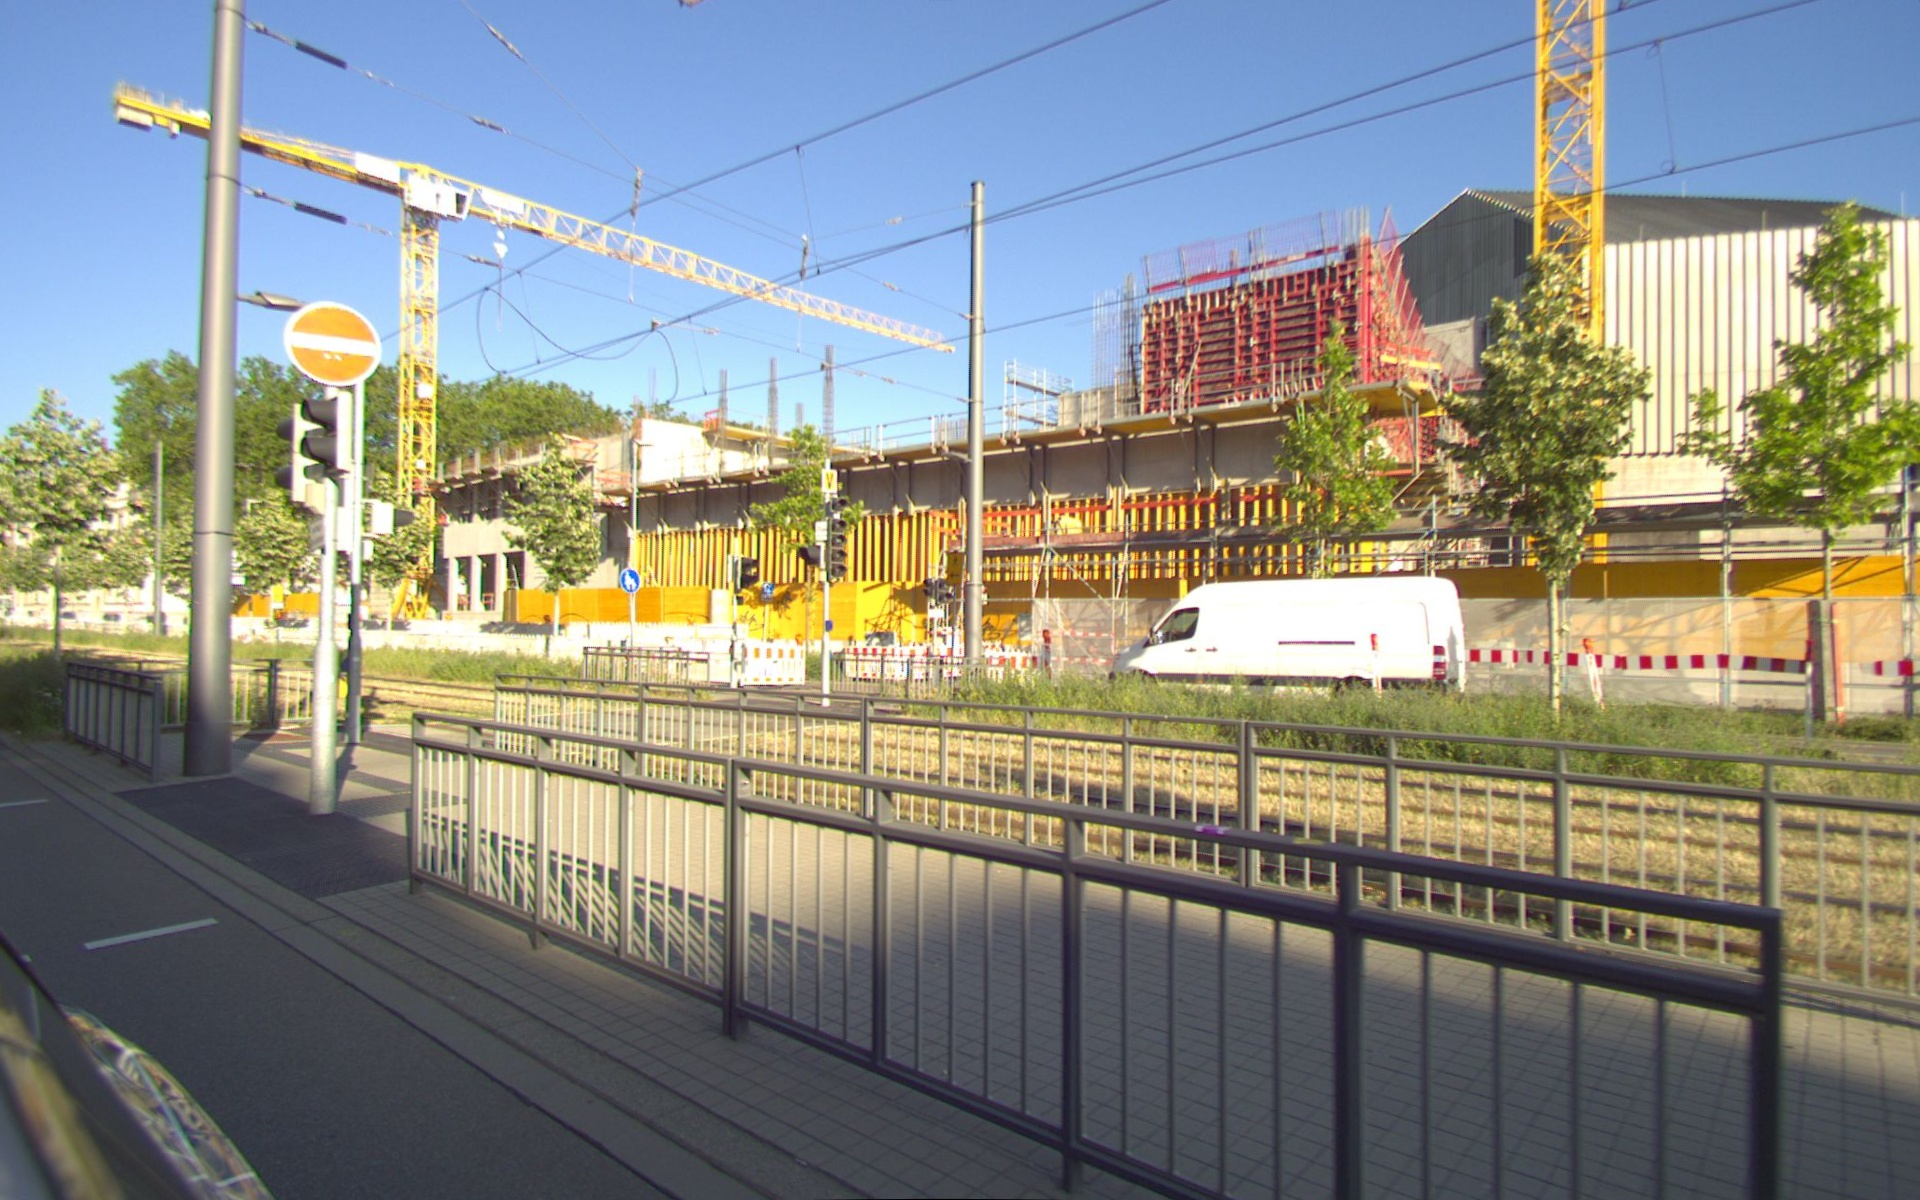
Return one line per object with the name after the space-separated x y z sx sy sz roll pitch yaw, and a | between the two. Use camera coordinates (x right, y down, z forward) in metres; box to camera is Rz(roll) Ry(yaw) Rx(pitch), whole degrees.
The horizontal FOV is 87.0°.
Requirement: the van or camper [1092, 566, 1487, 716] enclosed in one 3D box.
6.317 0.801 20.197 7.191 2.529 2.200 -1 -4 38 | van or camper
